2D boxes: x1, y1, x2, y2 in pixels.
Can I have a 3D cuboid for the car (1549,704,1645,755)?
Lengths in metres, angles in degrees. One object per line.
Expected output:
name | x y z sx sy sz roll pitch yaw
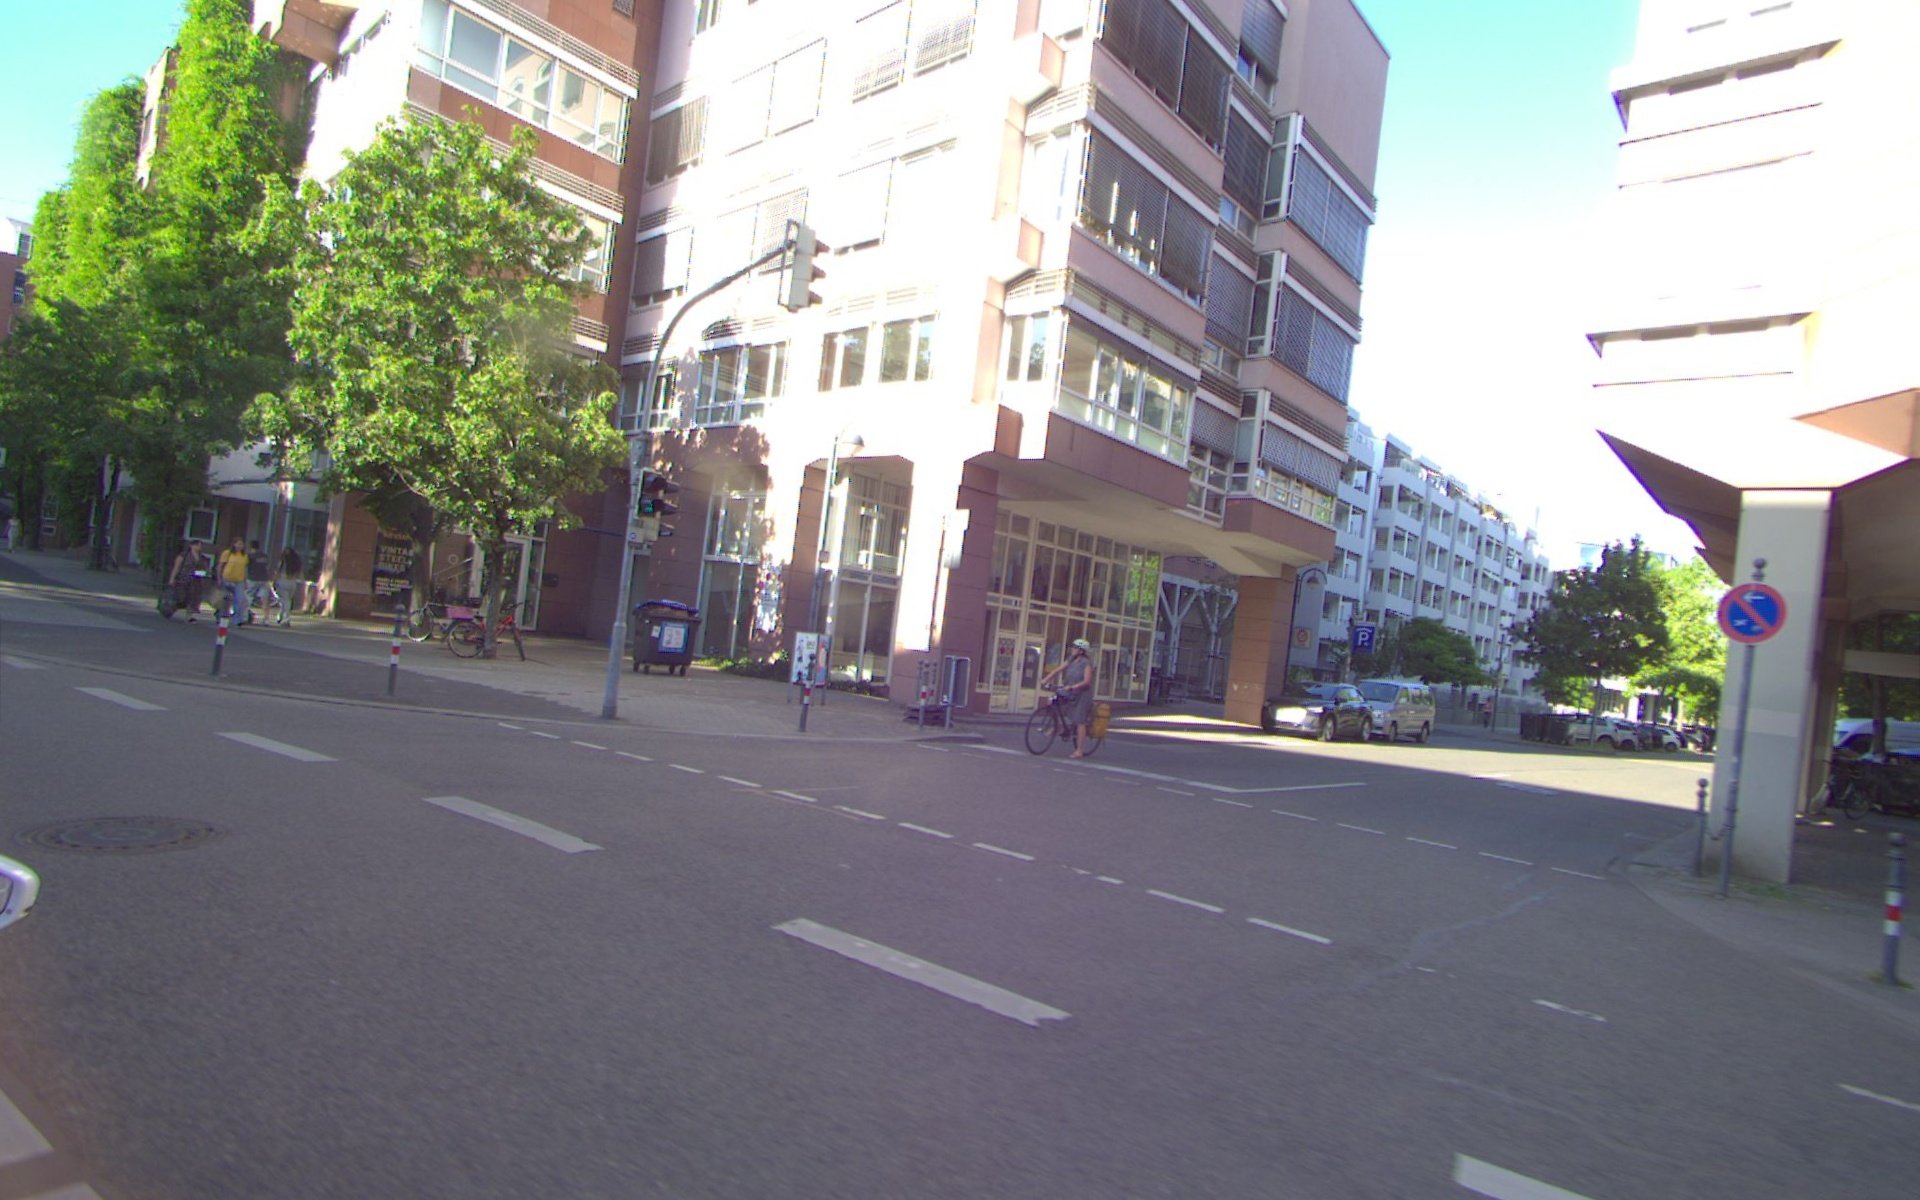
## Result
car | 32.832 6.658 51.895 1.716 1.996 3.685 8 -2 -36

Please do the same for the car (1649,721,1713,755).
car | 56.960 10.856 79.518 3.939 2.037 1.994 6 -2 37

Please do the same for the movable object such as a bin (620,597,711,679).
movable object such as a bin | -6.066 0.790 20.772 0.860 1.499 1.408 6 -2 43

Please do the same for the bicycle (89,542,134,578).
bicycle | -28.569 -1.346 33.854 1.884 1.032 0.618 6 -1 35

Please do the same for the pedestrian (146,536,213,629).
pedestrian | -14.401 -0.326 18.558 0.736 1.597 0.644 6 -1 36

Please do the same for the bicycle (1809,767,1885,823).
bicycle | 19.243 4.230 21.822 1.299 1.031 0.610 8 -1 -19

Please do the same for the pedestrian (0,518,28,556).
pedestrian | -39.222 -2.601 41.644 0.770 1.461 0.764 5 -3 44

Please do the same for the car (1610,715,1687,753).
car | 45.297 8.779 66.188 3.939 1.853 1.994 6 -2 37

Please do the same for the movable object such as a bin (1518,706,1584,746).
movable object such as a bin | 27.399 5.853 46.659 1.720 1.517 2.134 8 -3 -42

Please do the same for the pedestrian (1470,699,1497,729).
pedestrian | 28.518 6.213 54.767 1.009 1.504 0.892 6 -1 39

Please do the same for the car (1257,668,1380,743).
car | 10.181 3.014 28.408 1.776 1.741 4.182 6 -2 40

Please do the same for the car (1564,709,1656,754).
car | 34.970 7.070 54.183 1.716 1.828 3.685 8 -2 -36

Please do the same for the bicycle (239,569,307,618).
bicycle | -16.440 -0.161 24.059 1.725 0.950 0.737 6 -1 36

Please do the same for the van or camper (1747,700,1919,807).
van or camper | 30.287 5.159 33.080 6.330 2.799 2.361 7 -1 13

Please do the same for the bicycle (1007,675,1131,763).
bicycle | 1.637 1.758 14.834 0.792 1.126 1.914 6 -2 40

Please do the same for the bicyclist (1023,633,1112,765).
bicyclist | 1.571 1.447 14.717 0.777 1.791 0.824 6 -1 40

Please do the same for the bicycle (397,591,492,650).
bicycle | -11.443 0.466 22.341 1.734 1.065 0.734 8 -1 -31

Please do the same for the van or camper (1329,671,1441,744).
van or camper | 13.969 3.550 32.899 1.778 1.995 4.554 6 -2 43

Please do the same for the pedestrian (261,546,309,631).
pedestrian | -14.260 -0.244 21.248 0.669 1.692 0.459 6 -1 35

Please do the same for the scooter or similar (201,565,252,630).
scooter or similar | -14.802 -0.055 20.293 1.231 1.171 0.394 6 -1 38

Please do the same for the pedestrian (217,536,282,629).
pedestrian | -14.531 -0.344 20.573 0.601 1.784 0.785 6 -1 39

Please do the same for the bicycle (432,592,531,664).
bicycle | -9.472 0.569 19.944 0.569 1.241 1.567 6 -2 37

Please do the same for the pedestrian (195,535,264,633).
pedestrian | -13.897 -0.301 19.145 0.756 1.754 0.701 6 -1 36

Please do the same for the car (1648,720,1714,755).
car | 55.641 10.582 77.660 3.939 2.037 1.994 6 -2 37

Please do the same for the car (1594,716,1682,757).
car | 38.421 7.713 57.053 1.716 1.712 3.685 8 -2 -36

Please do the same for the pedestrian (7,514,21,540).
pedestrian | -64.178 -4.959 68.266 0.368 1.646 0.450 6 -1 31
